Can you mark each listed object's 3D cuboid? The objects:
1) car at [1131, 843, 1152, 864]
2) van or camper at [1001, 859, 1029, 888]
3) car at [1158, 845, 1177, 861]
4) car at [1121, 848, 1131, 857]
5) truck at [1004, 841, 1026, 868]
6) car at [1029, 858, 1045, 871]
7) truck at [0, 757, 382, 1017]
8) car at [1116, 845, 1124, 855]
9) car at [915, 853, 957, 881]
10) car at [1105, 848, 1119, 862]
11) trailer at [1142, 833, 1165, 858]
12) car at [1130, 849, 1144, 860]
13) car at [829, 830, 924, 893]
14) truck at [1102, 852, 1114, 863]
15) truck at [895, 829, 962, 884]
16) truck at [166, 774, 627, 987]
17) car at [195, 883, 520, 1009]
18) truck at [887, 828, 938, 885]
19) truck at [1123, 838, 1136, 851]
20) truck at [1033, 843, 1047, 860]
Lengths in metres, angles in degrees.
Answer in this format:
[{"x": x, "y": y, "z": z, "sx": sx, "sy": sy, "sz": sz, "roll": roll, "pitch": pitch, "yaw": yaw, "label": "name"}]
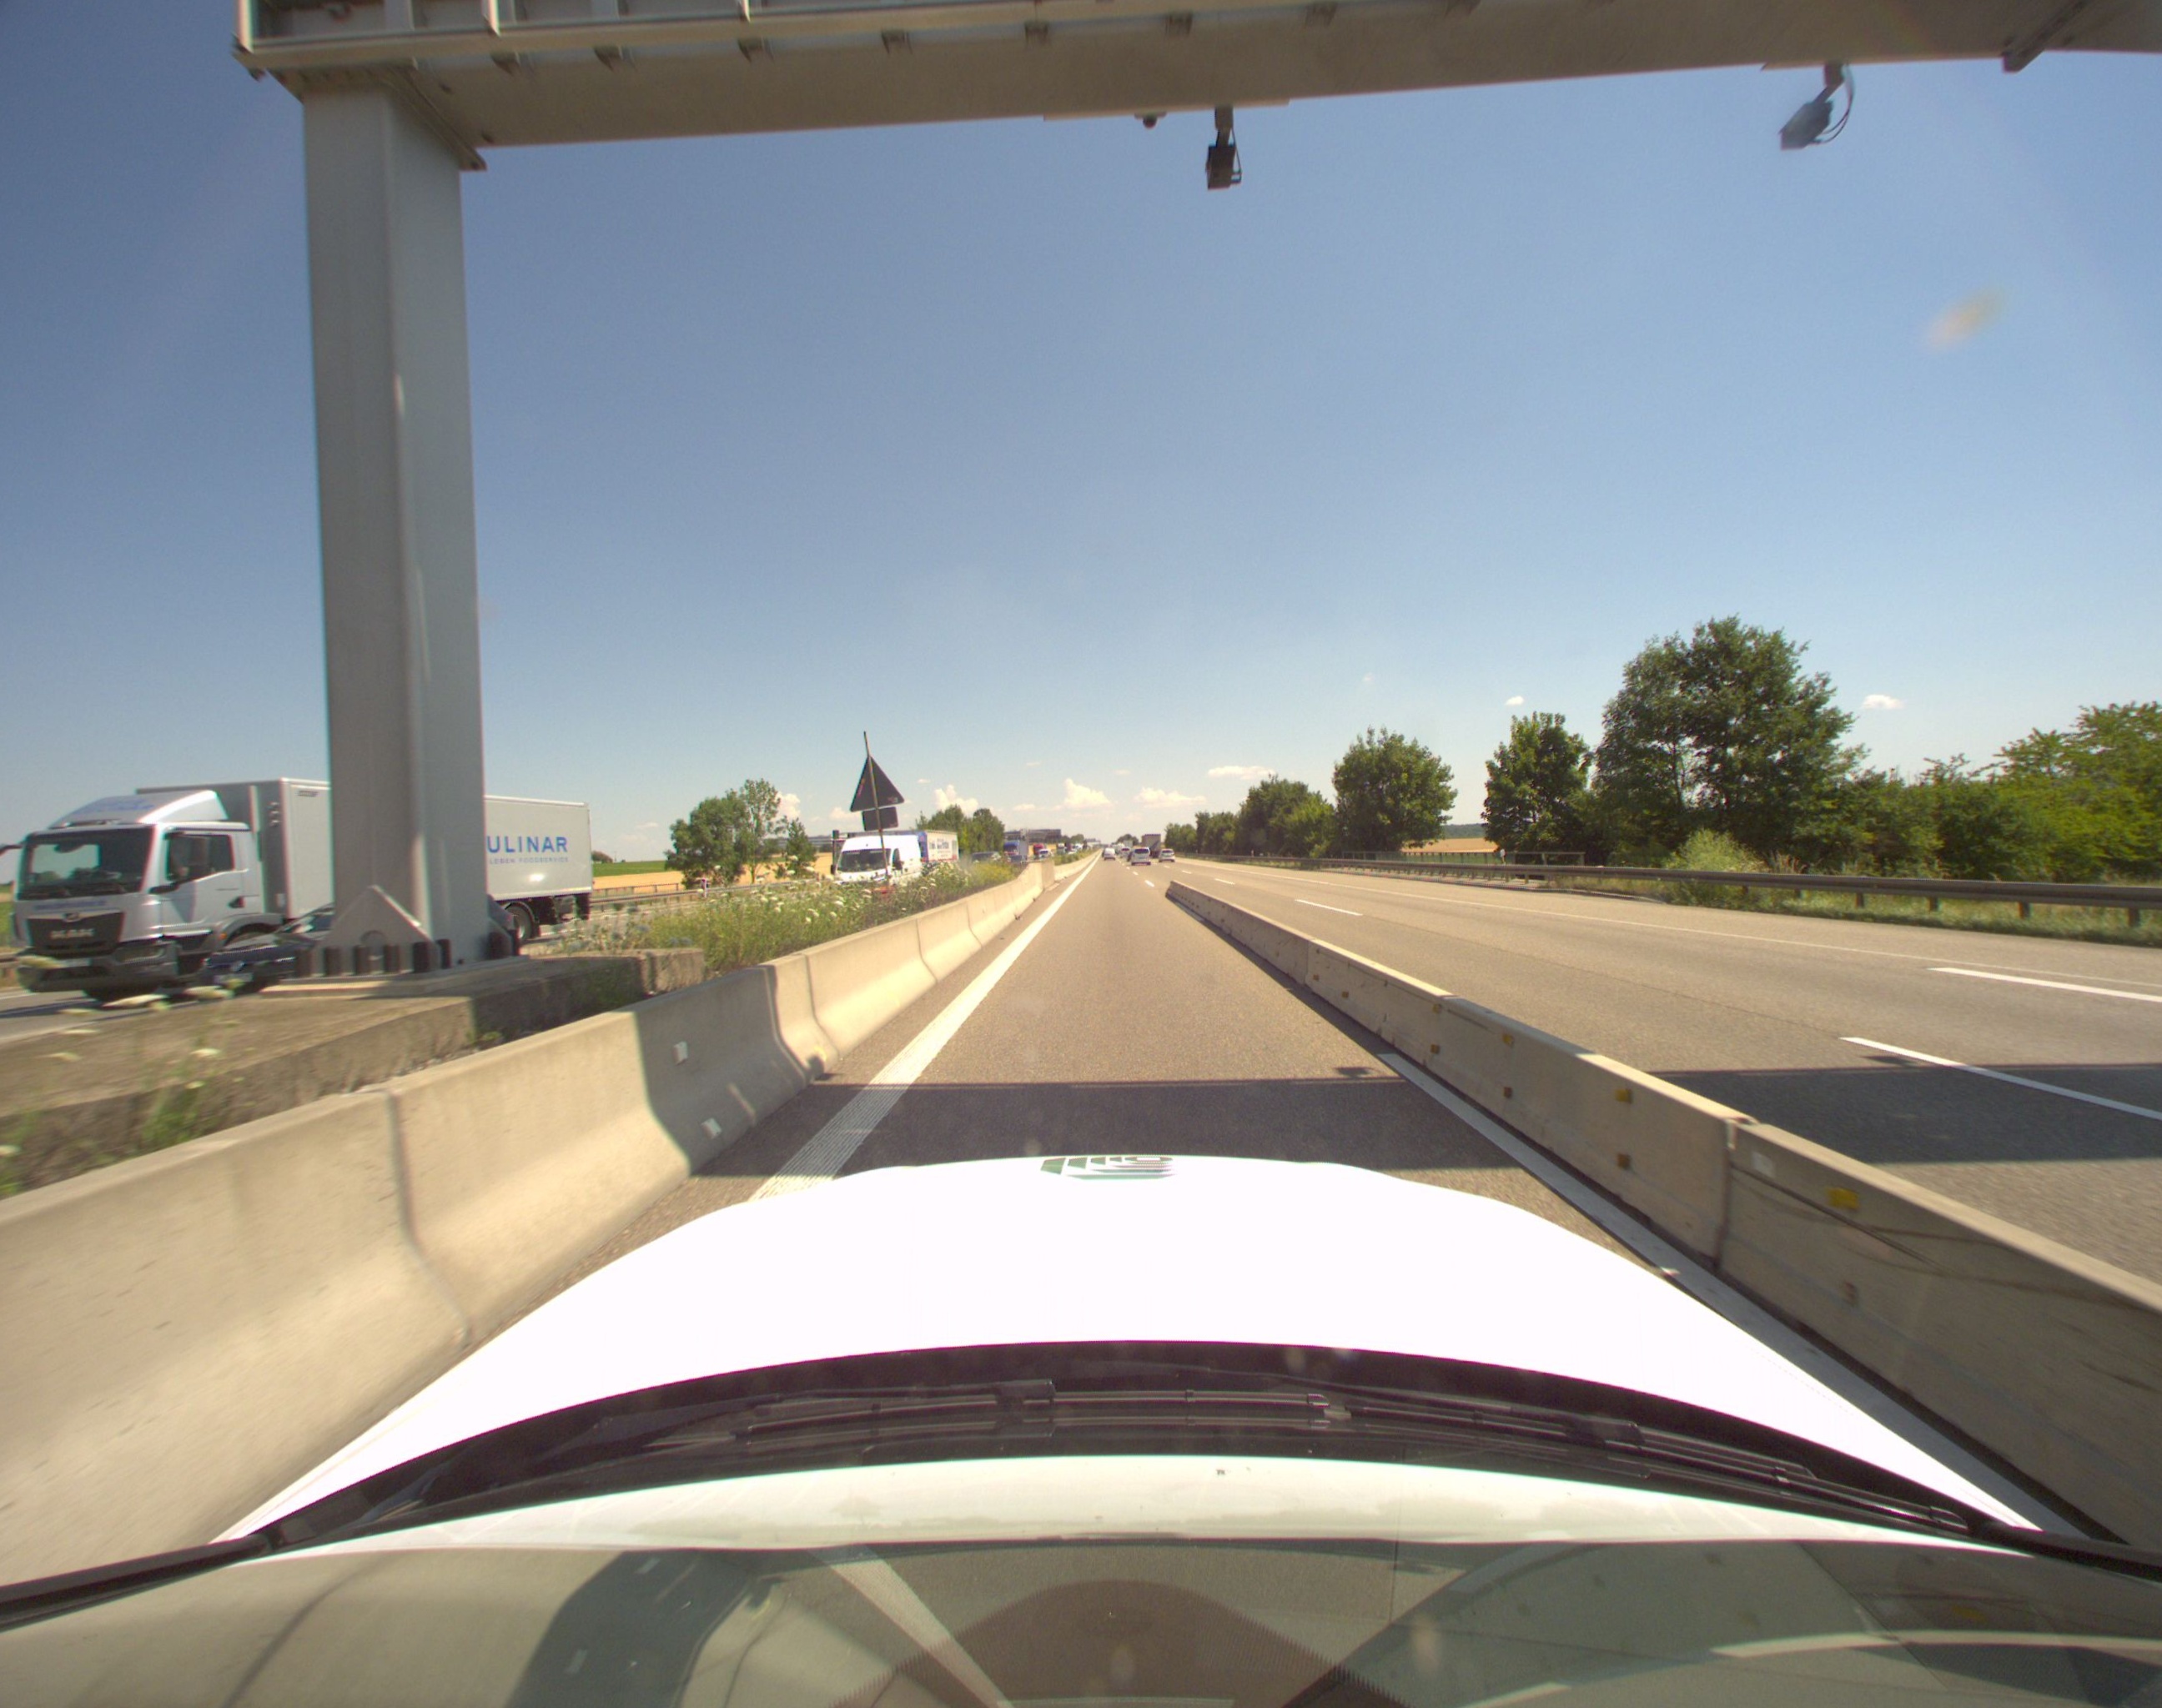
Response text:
[{"x": 6.361, "y": -0.045, "z": 85.642, "sx": 1.986, "sy": 2.120, "sz": 4.001, "roll": -2, "pitch": -1, "yaw": 2, "label": "car"}, {"x": -6.345, "y": 1.821, "z": 78.909, "sx": 2.140, "sy": 2.628, "sz": 4.398, "roll": -3, "pitch": 0, "yaw": 1, "label": "van or camper"}, {"x": 10.685, "y": -0.087, "z": 100.856, "sx": 1.986, "sy": 1.794, "sz": 4.001, "roll": -2, "pitch": -1, "yaw": 2, "label": "car"}, {"x": 8.259, "y": -0.280, "z": 148.931, "sx": 1.767, "sy": 1.447, "sz": 4.001, "roll": -2, "pitch": -1, "yaw": 2, "label": "car"}, {"x": -11.066, "y": 0.060, "z": 136.249, "sx": 2.854, "sy": 4.350, "sz": 5.588, "roll": -3, "pitch": 0, "yaw": 2, "label": "truck"}, {"x": -5.577, "y": 1.304, "z": 104.512, "sx": 1.678, "sy": 1.566, "sz": 4.563, "roll": -3, "pitch": 0, "yaw": 1, "label": "car"}, {"x": -14.880, "y": 0.488, "z": 13.567, "sx": 2.687, "sy": 3.587, "sz": 4.003, "roll": -4, "pitch": 0, "yaw": 3, "label": "truck"}, {"x": 9.498, "y": -0.903, "z": 198.241, "sx": 1.767, "sy": 2.392, "sz": 4.001, "roll": -2, "pitch": -1, "yaw": 2, "label": "car"}, {"x": -9.549, "y": 0.823, "z": 53.957, "sx": 1.882, "sy": 1.654, "sz": 4.095, "roll": -3, "pitch": 0, "yaw": 1, "label": "car"}, {"x": 4.784, "y": 0.166, "z": 125.402, "sx": 1.986, "sy": 2.014, "sz": 4.001, "roll": -2, "pitch": -1, "yaw": 2, "label": "car"}, {"x": 12.349, "y": -1.312, "z": 138.537, "sx": 3.265, "sy": 3.967, "sz": 9.115, "roll": -2, "pitch": -1, "yaw": 2, "label": "trailer"}, {"x": 7.707, "y": 0.051, "z": 112.107, "sx": 1.767, "sy": 1.447, "sz": 4.001, "roll": -2, "pitch": -1, "yaw": 2, "label": "car"}, {"x": -7.127, "y": 0.251, "z": 28.894, "sx": 1.986, "sy": 1.946, "sz": 4.796, "roll": -3, "pitch": 0, "yaw": 1, "label": "car"}, {"x": 5.455, "y": 0.683, "z": 165.208, "sx": 2.204, "sy": 2.013, "sz": 4.972, "roll": -2, "pitch": 0, "yaw": 1, "label": "truck"}, {"x": -13.285, "y": 0.178, "z": 72.617, "sx": 2.583, "sy": 4.238, "sz": 14.127, "roll": -5, "pitch": 0, "yaw": 2, "label": "truck"}, {"x": -14.612, "y": 0.445, "z": 18.842, "sx": 2.688, "sy": 3.620, "sz": 8.793, "roll": -4, "pitch": 0, "yaw": 3, "label": "truck"}, {"x": -10.971, "y": 1.291, "z": 12.786, "sx": 1.553, "sy": 1.442, "sz": 3.838, "roll": -3, "pitch": 0, "yaw": 1, "label": "car"}, {"x": -13.479, "y": 0.206, "z": 65.522, "sx": 2.583, "sy": 4.238, "sz": 4.856, "roll": -5, "pitch": 0, "yaw": 1, "label": "truck"}, {"x": 15.516, "y": -2.894, "z": 262.588, "sx": 3.802, "sy": 3.904, "sz": 9.583, "roll": -2, "pitch": 0, "yaw": 1, "label": "truck"}, {"x": -9.745, "y": -0.542, "z": 195.732, "sx": 2.846, "sy": 3.855, "sz": 4.001, "roll": -3, "pitch": 0, "yaw": 1, "label": "truck"}]
